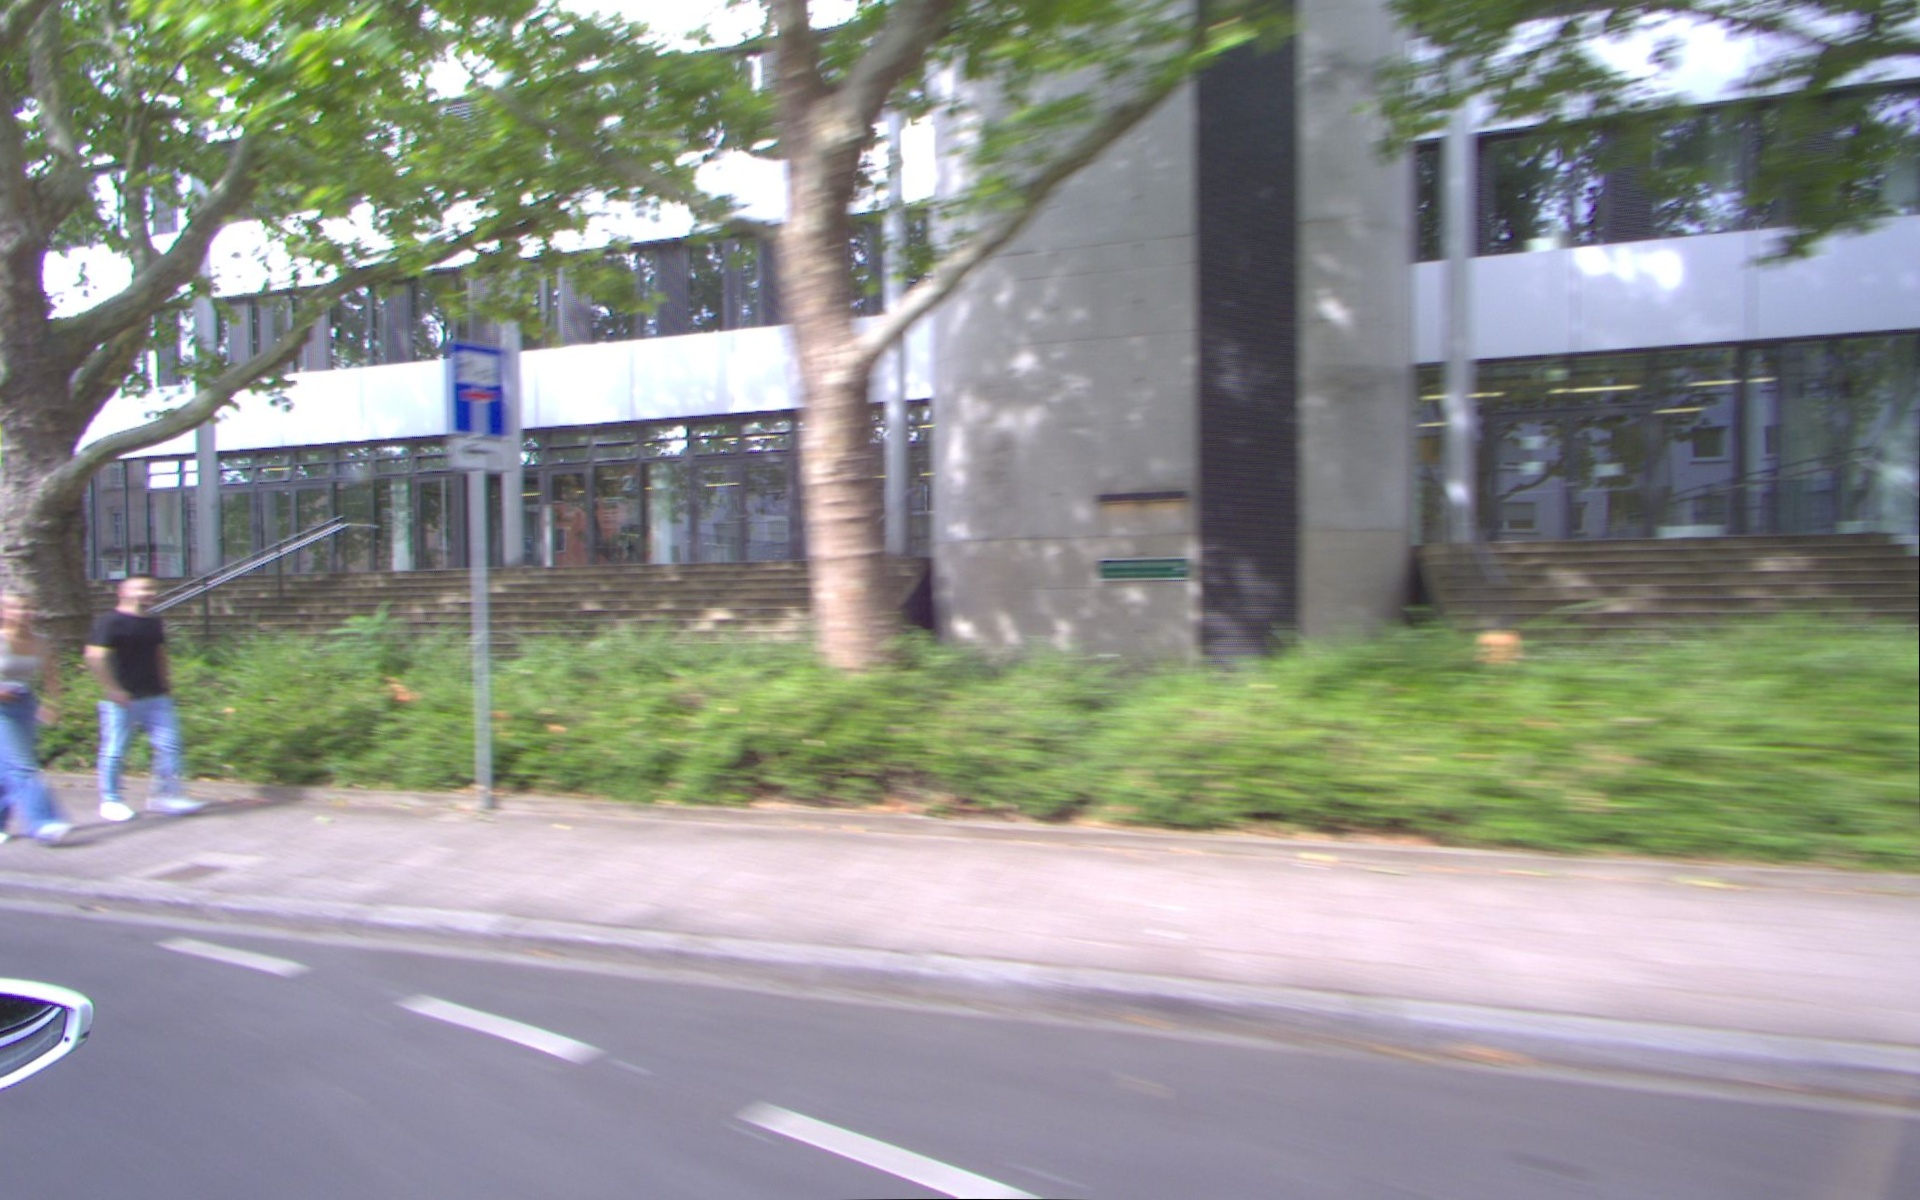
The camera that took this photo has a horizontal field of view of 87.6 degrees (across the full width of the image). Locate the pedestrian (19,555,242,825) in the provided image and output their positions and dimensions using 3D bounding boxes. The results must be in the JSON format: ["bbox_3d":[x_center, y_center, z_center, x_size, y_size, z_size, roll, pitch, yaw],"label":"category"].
[{"bbox_3d":[-5.952,0.606,7.216,1.015,1.824,0.716,-1,2,15],"label":"pedestrian"}]

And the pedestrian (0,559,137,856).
[{"bbox_3d":[-6.166,0.653,6.527,1.015,1.808,0.712,-1,2,15],"label":"pedestrian"}]
